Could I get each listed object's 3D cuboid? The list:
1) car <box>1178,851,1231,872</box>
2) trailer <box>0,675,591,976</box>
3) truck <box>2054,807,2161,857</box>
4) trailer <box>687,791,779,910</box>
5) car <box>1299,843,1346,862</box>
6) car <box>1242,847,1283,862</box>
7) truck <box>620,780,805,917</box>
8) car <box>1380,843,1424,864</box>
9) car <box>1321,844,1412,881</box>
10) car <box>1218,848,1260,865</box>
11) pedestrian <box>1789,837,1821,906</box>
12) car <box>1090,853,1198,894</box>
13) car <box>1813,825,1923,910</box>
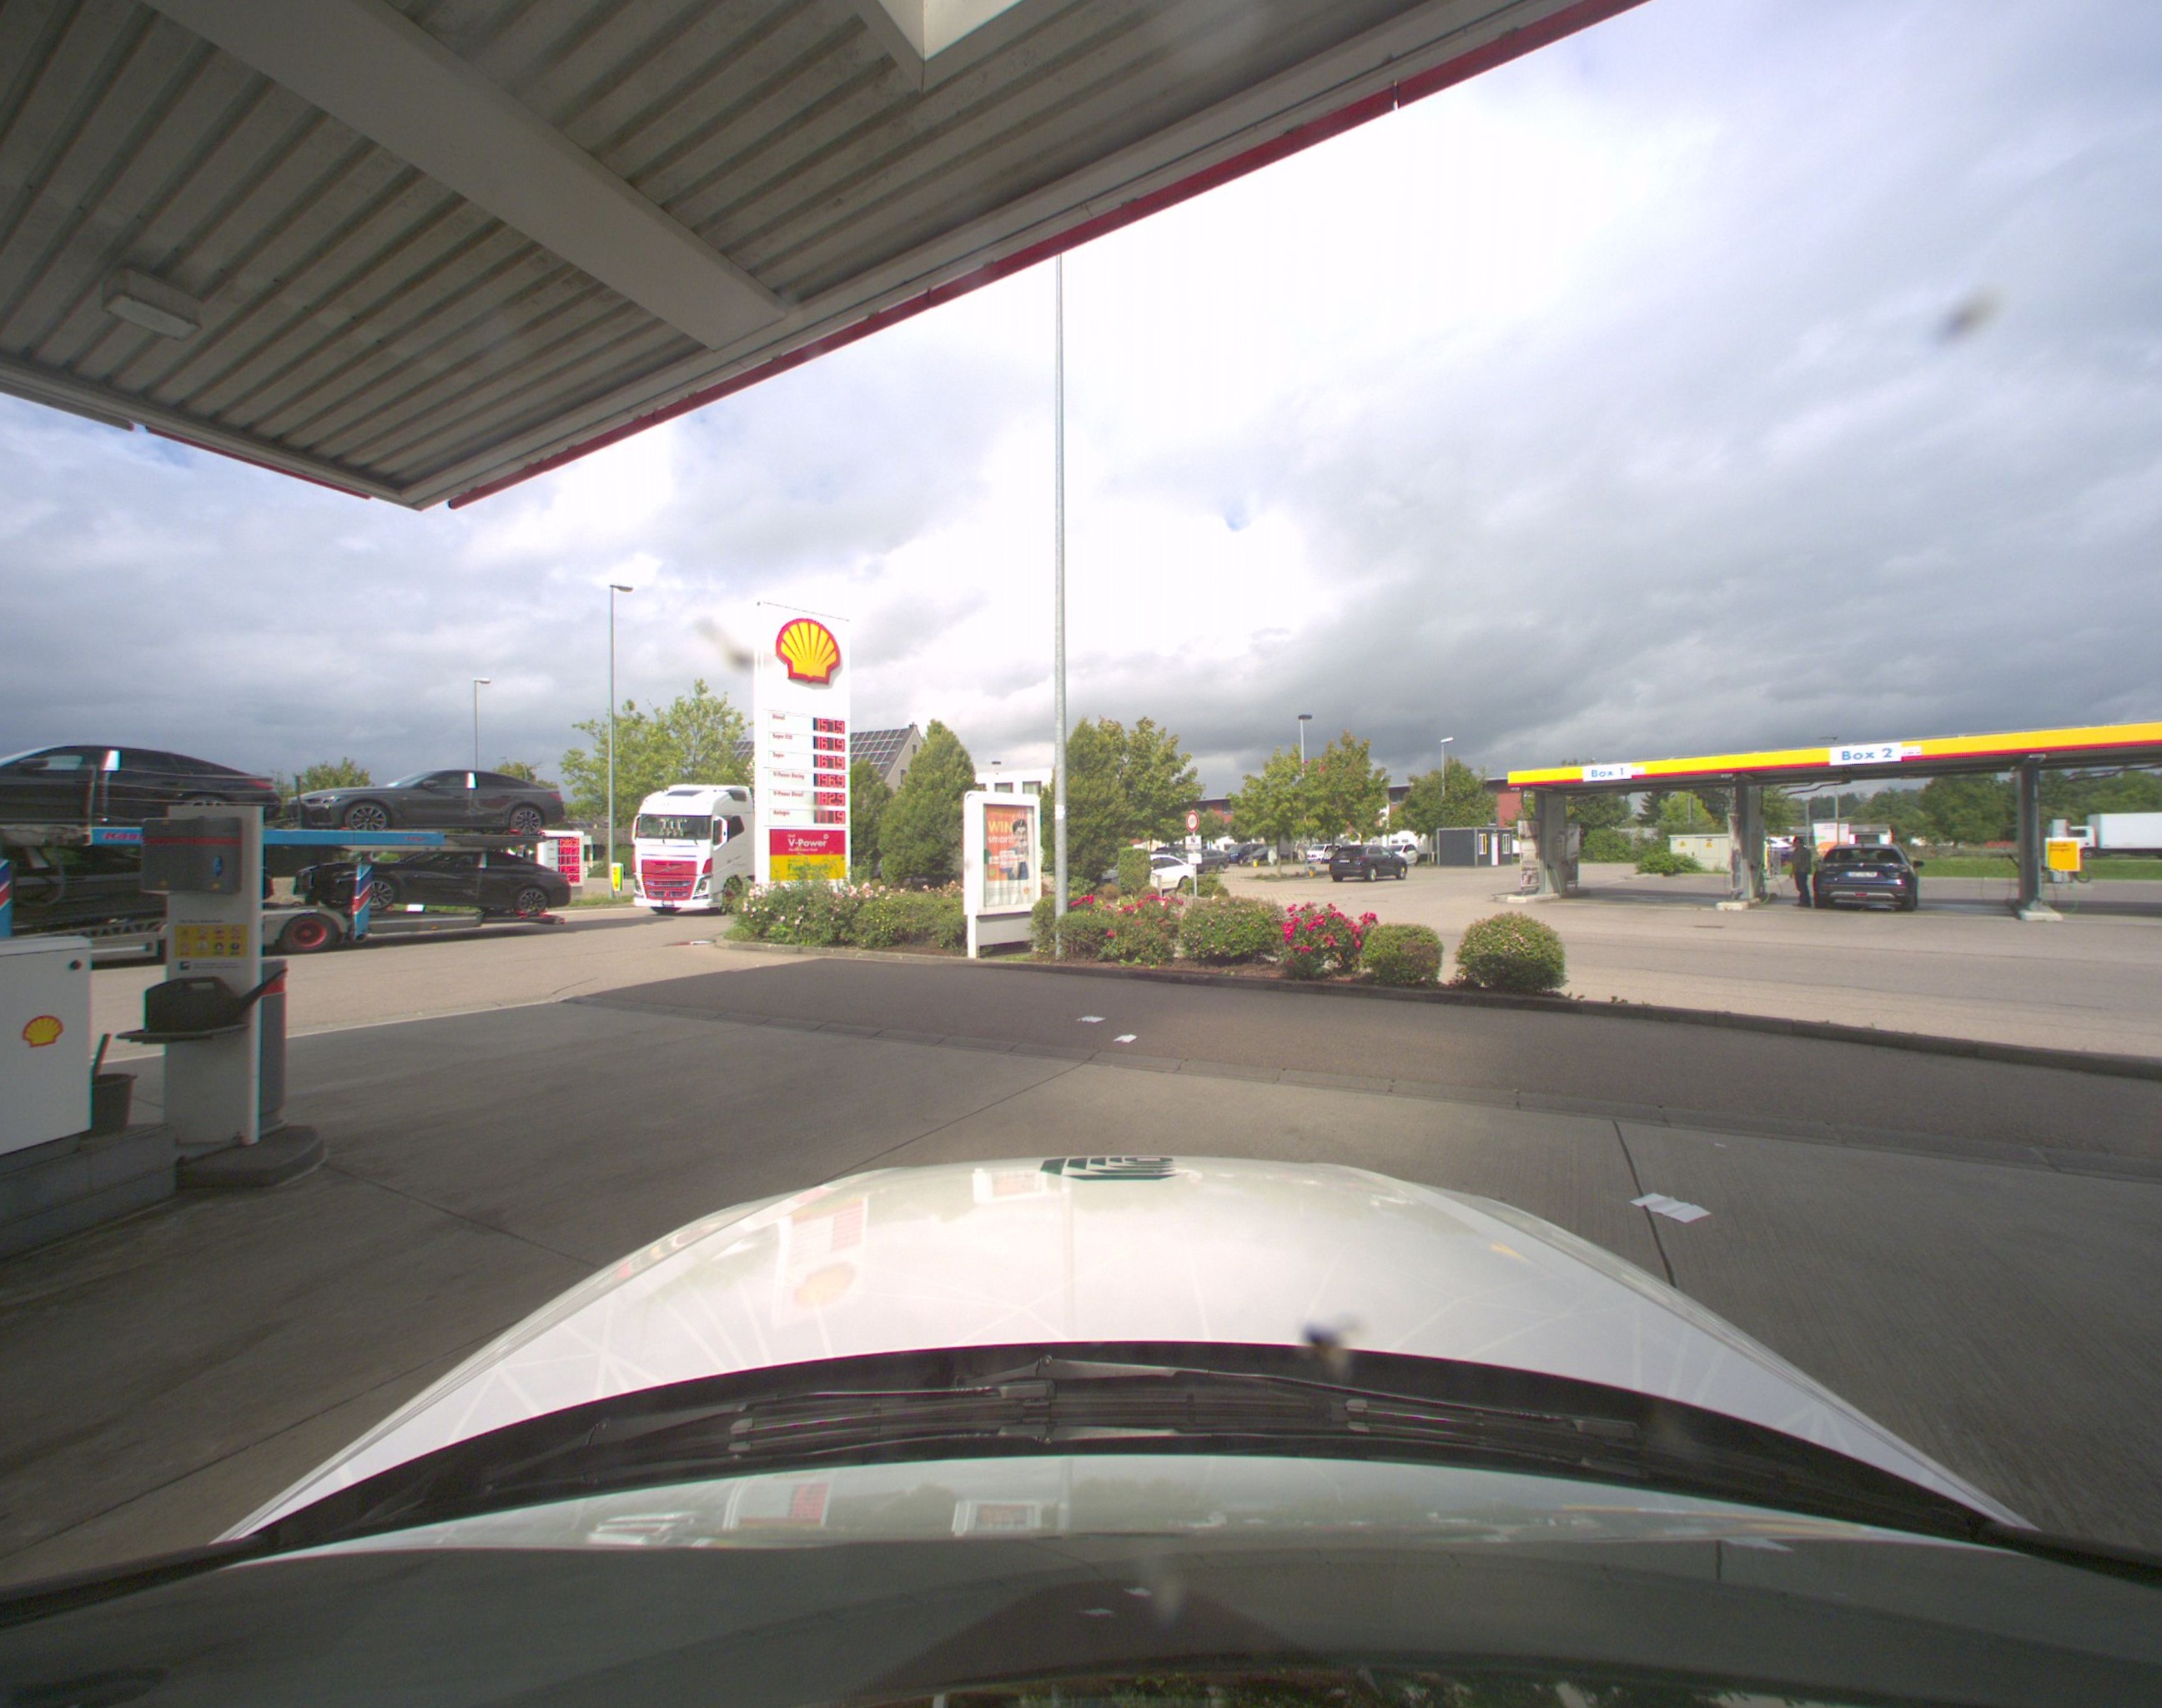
[{"bbox_3d":[7.532,0.451,49.692,3.245,1.228,1.488,0,-1,-42],"label":"car"},{"bbox_3d":[-16.442,-0.405,13.670,2.711,4.423,14.450,-1,-1,31],"label":"trailer"},{"bbox_3d":[78.222,-1.575,59.997,7.989,3.534,2.714,-1,-1,41],"label":"truck"},{"bbox_3d":[-13.843,-0.052,32.020,2.744,3.776,12.608,0,-1,-25],"label":"trailer"},{"bbox_3d":[23.864,-0.123,80.256,4.903,1.833,2.159,0,-1,-41],"label":"car"},{"bbox_3d":[14.484,0.036,64.862,3.437,1.179,1.468,0,-1,-42],"label":"car"},{"bbox_3d":[-11.424,-0.122,25.964,2.718,3.846,5.929,0,-1,6],"label":"truck"},{"bbox_3d":[20.599,-0.048,52.203,3.120,1.307,1.352,0,-1,-42],"label":"car"},{"bbox_3d":[12.868,0.375,36.566,4.527,1.548,1.864,0,-1,-41],"label":"car"},{"bbox_3d":[12.941,0.183,66.646,3.407,1.320,1.726,0,-1,-42],"label":"car"},{"bbox_3d":[18.266,0.437,20.566,0.551,1.722,0.531,-1,-1,38],"label":"pedestrian"},{"bbox_3d":[2.387,0.686,30.007,4.368,1.404,1.354,0,-1,-42],"label":"car"},{"bbox_3d":[19.431,0.313,20.062,3.828,1.897,1.703,0,-1,-43],"label":"car"}]
